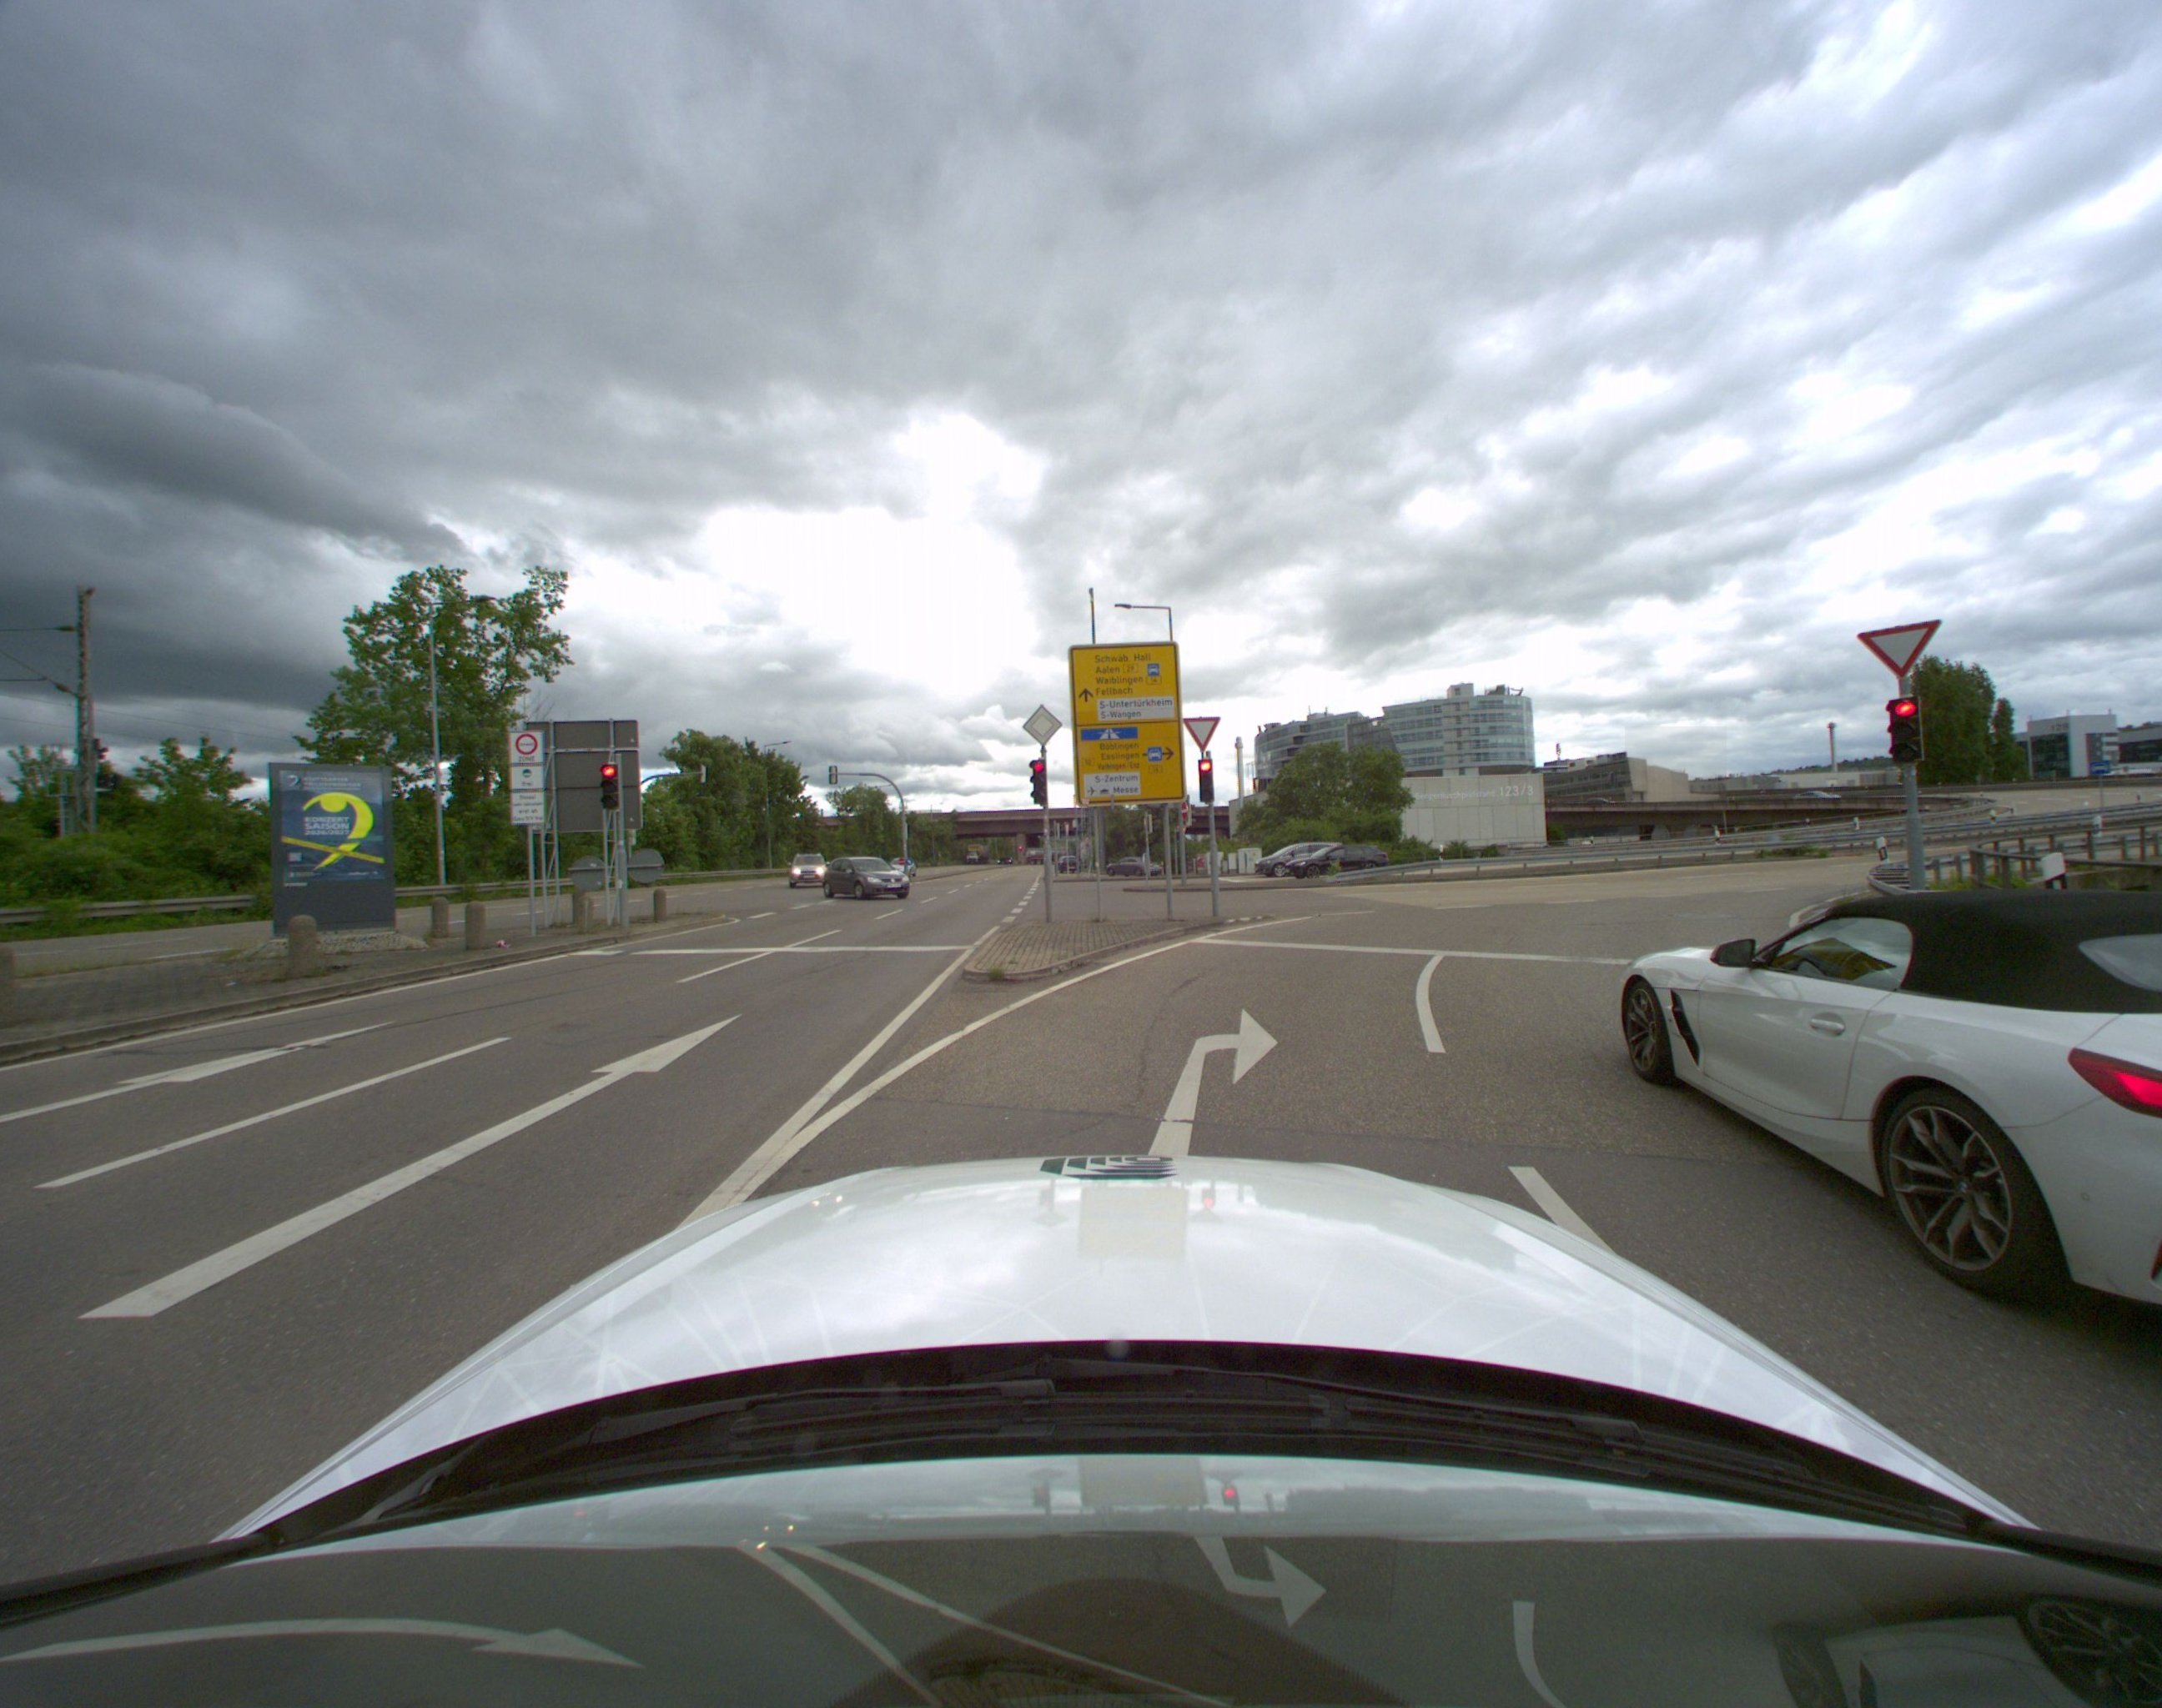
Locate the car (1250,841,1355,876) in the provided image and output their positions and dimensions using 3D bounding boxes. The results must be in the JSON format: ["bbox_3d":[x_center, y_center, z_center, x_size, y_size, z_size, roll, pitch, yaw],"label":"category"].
[{"bbox_3d":[11.027,0.204,40.739,4.669,1.571,1.953,-2,1,-4],"label":"car"}]

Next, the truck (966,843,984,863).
[{"bbox_3d":[-22.187,-0.273,170.500,2.862,4.084,6.487,0,0,0],"label":"truck"}]

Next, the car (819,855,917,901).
[{"bbox_3d":[-7.585,0.788,28.709,1.739,1.461,4.194,0,0,-40],"label":"car"}]

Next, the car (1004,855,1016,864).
[{"bbox_3d":[-15.310,1.206,175.884,1.986,1.859,4.003,1,1,2],"label":"car"}]

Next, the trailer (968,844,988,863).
[{"bbox_3d":[-22.149,-0.156,175.850,2.862,4.084,11.427,0,1,1],"label":"trailer"}]

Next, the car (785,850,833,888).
[{"bbox_3d":[-13.608,0.718,40.911,1.726,1.737,4.537,-2,0,-12],"label":"car"}]

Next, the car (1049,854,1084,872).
[{"bbox_3d":[-1.273,0.815,69.660,1.998,1.464,4.087,0,-2,-16],"label":"car"}]

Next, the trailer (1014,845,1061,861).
[{"bbox_3d":[-8.262,-0.207,154.852,8.511,2.624,2.610,2,0,1],"label":"trailer"}]

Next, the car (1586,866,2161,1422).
[{"bbox_3d":[4.092,0.757,3.772,1.792,1.291,4.280,0,1,14],"label":"car"}]

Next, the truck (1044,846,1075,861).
[{"bbox_3d":[-4.149,-0.081,155.005,5.745,2.624,2.619,2,0,-2],"label":"truck"}]

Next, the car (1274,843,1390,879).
[{"bbox_3d":[11.276,0.297,36.695,4.600,1.457,1.952,-2,1,-6],"label":"car"}]

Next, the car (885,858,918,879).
[{"bbox_3d":[-13.489,1.059,61.367,1.720,1.400,4.062,-2,0,-3],"label":"car"}]

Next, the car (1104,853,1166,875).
[{"bbox_3d":[3.769,0.699,57.538,4.058,1.442,2.012,-2,-3,44],"label":"car"}]
